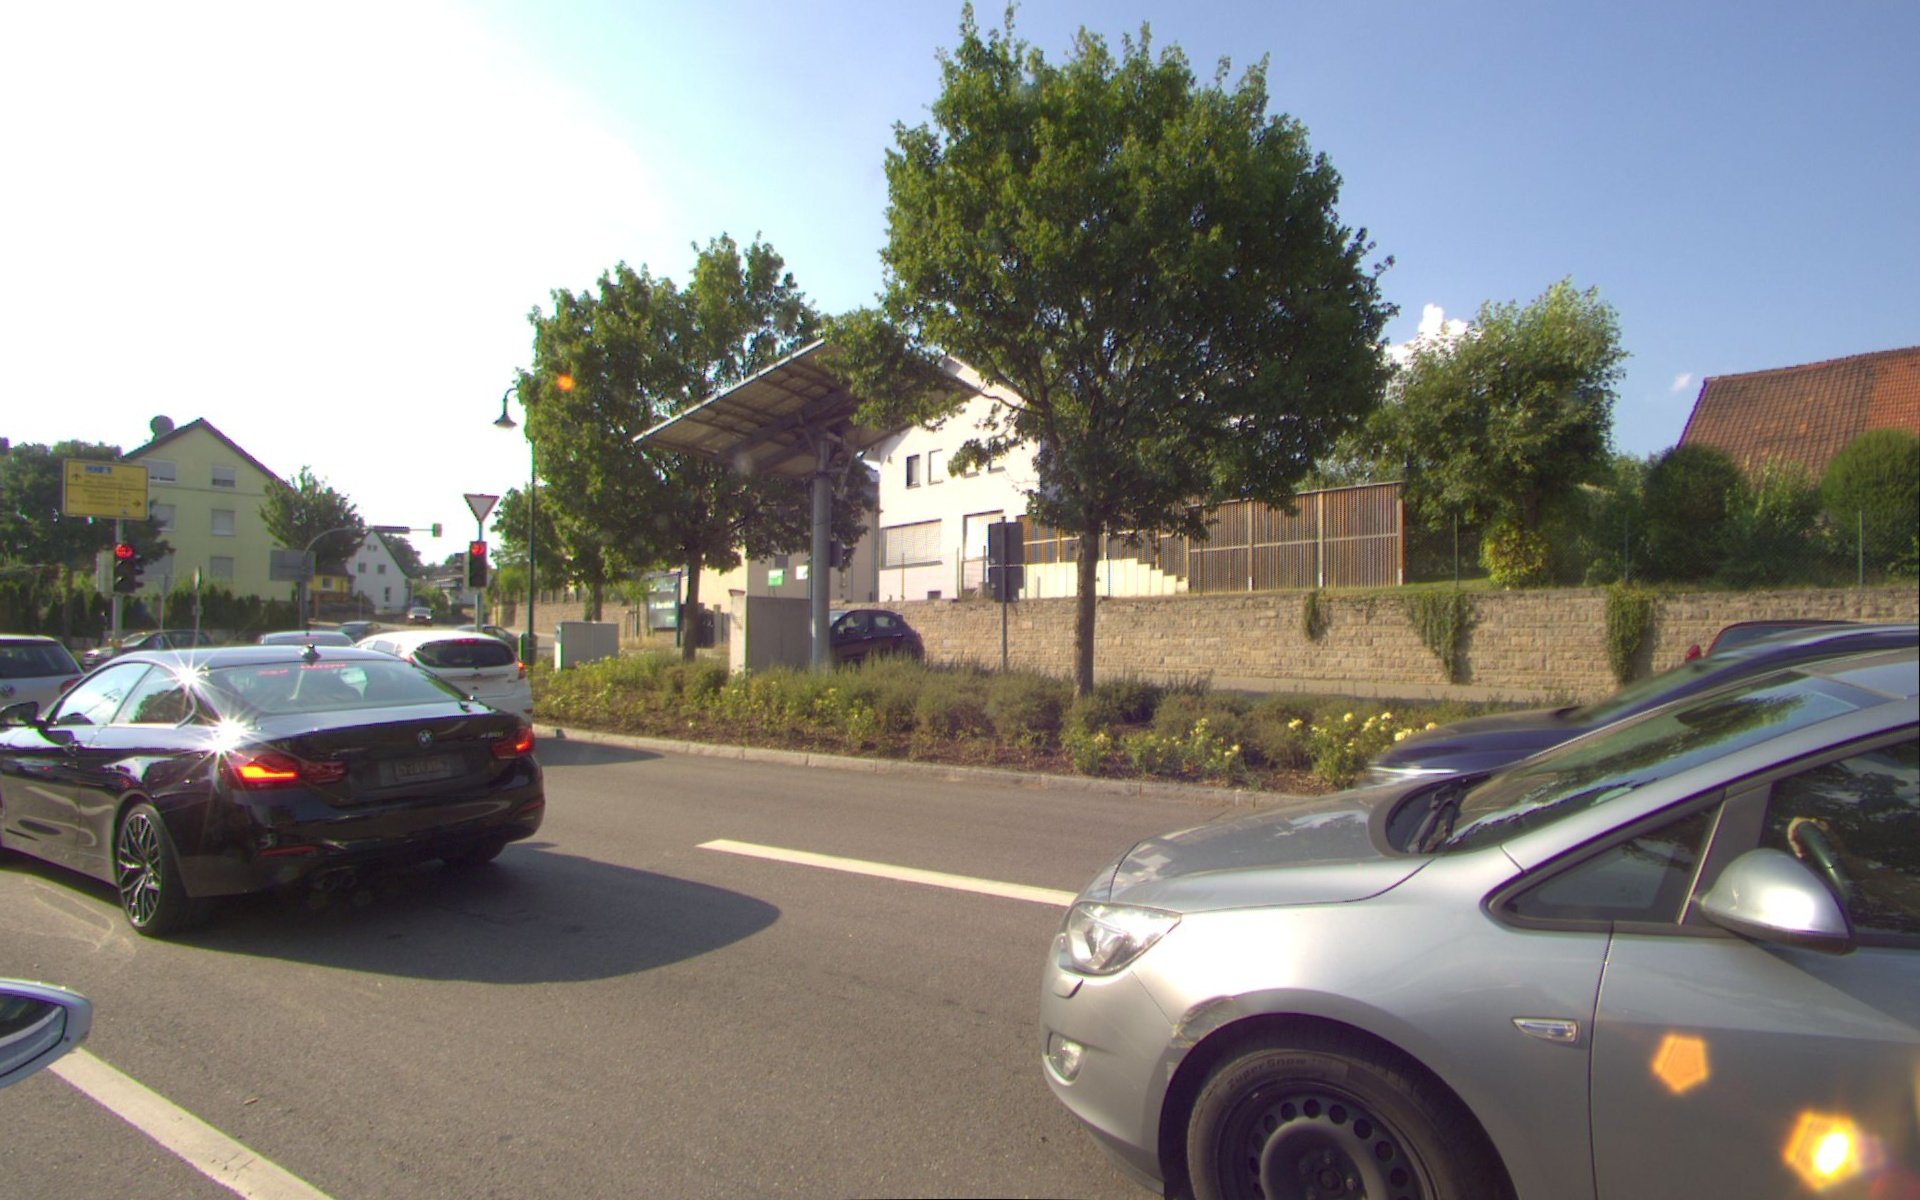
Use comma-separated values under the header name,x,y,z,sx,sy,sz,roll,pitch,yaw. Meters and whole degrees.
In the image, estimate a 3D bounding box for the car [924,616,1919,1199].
name,x,y,z,sx,sy,sz,roll,pitch,yaw
car,2.177,0.782,2.164,4.256,1.472,1.758,-1,0,31

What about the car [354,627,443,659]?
name,x,y,z,sx,sy,sz,roll,pitch,yaw
car,-28.283,2.144,50.579,1.813,1.508,4.000,0,-2,10

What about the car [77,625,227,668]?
name,x,y,z,sx,sy,sz,roll,pitch,yaw
car,-30.069,1.718,37.366,1.821,1.508,3.983,-1,-2,30

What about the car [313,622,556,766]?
name,x,y,z,sx,sy,sz,roll,pitch,yaw
car,-6.744,1.077,12.746,3.278,1.562,1.611,-1,0,40

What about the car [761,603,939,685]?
name,x,y,z,sx,sy,sz,roll,pitch,yaw
car,-2.374,0.961,22.300,1.758,1.653,3.800,-1,-2,40

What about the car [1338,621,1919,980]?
name,x,y,z,sx,sy,sz,roll,pitch,yaw
car,4.297,0.855,5.025,4.256,1.472,1.758,-1,0,31

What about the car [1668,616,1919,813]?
name,x,y,z,sx,sy,sz,roll,pitch,yaw
car,8.228,0.952,9.747,1.758,1.510,4.120,-1,-2,41

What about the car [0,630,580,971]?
name,x,y,z,sx,sy,sz,roll,pitch,yaw
car,-4.431,0.914,6.188,4.220,1.416,1.758,-1,0,33

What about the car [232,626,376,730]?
name,x,y,z,sx,sy,sz,roll,pitch,yaw
car,-11.750,1.271,17.816,1.643,1.562,4.362,-1,0,-40

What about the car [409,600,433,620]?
name,x,y,z,sx,sy,sz,roll,pitch,yaw
car,-46.907,0.906,87.111,1.822,1.662,4.410,1,-2,-29

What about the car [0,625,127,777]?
name,x,y,z,sx,sy,sz,roll,pitch,yaw
car,-10.802,1.011,10.781,3.848,1.444,1.758,-1,0,33

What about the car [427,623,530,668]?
name,x,y,z,sx,sy,sz,roll,pitch,yaw
car,-19.576,1.813,40.936,1.933,1.701,4.215,-1,-1,4
